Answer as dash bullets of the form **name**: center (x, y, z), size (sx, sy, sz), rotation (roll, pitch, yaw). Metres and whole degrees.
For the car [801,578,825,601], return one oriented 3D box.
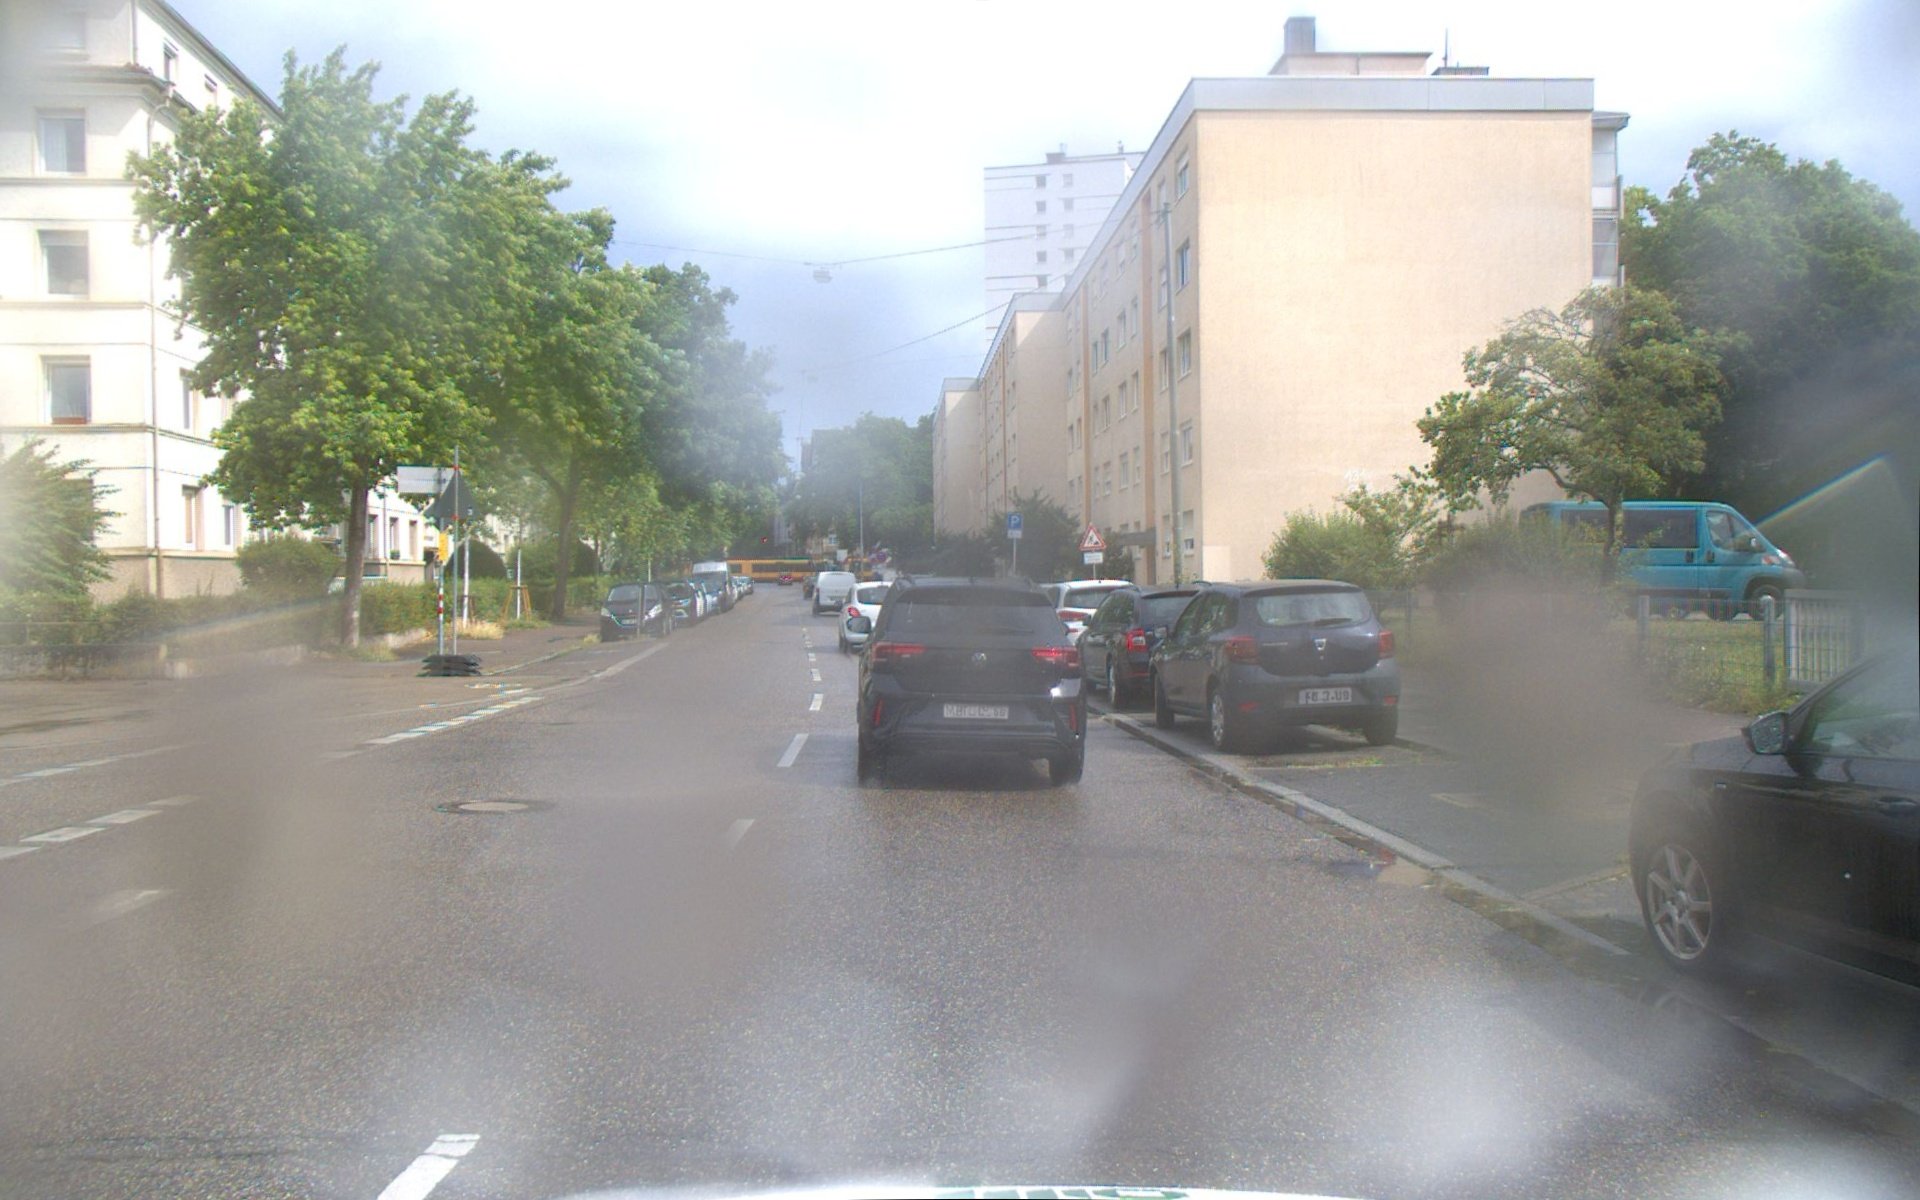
- **car**: center (-10.398, -0.725, 116.875), size (1.574, 1.536, 3.543), rotation (-2, 1, -6)

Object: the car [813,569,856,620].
- **car**: center (-5.447, -0.226, 72.104), size (1.800, 2.139, 3.997), rotation (1, 0, -3)

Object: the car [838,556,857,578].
- **car**: center (-9.992, -2.891, 146.521), size (1.633, 1.869, 3.997), rotation (-2, 1, -4)

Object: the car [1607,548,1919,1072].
- **car**: center (3.791, 0.622, 4.905), size (1.739, 1.566, 4.375), rotation (-3, 1, -4)

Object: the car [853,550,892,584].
- **car**: center (-4.406, -1.667, 83.652), size (1.803, 1.636, 3.675), rotation (-2, 1, -1)

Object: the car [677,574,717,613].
- **car**: center (-11.784, -0.315, 74.163), size (1.556, 1.668, 3.915), rotation (-2, 1, -7)

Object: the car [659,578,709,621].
- **car**: center (-9.957, -0.033, 59.918), size (1.556, 1.442, 3.915), rotation (-2, 1, -7)

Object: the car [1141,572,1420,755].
- **car**: center (3.052, 0.551, 16.595), size (1.722, 1.554, 3.996), rotation (-2, 0, -5)

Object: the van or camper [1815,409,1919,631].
- **van or camper**: center (13.623, -0.965, 20.525), size (4.897, 2.599, 2.174), rotation (-1, 0, -1)

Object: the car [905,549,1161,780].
- **car**: center (0.478, 0.476, 14.233), size (1.835, 1.674, 4.060), rotation (1, 0, -2)

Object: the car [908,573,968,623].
- **car**: center (-0.766, -0.100, 55.029), size (1.574, 1.532, 4.027), rotation (-2, 1, -6)

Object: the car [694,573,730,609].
- **car**: center (-11.967, -0.452, 79.942), size (1.556, 1.668, 3.915), rotation (-2, 1, -7)

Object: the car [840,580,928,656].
- **car**: center (-1.635, 0.364, 35.804), size (1.777, 1.529, 3.998), rotation (1, 0, -2)

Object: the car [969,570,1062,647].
- **car**: center (1.254, 0.149, 38.793), size (1.574, 1.690, 4.026), rotation (0, 1, -7)

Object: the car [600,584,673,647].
- **car**: center (-8.622, 0.385, 44.265), size (1.556, 1.532, 4.059), rotation (-2, 1, -7)

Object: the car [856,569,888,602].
- **car**: center (-5.115, -0.847, 95.828), size (1.574, 1.796, 4.027), rotation (-2, 1, -6)

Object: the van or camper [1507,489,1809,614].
- **van or camper**: center (12.891, -0.899, 30.811), size (4.661, 2.168, 2.322), rotation (-1, 1, 1)

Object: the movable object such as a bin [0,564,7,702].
- **movable object such as a bin**: center (-12.704, 0.444, 19.891), size (1.505, 1.691, 1.460), rotation (-1, 1, 17)

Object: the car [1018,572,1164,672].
- **car**: center (2.110, 0.302, 27.758), size (1.715, 1.534, 4.107), rotation (-1, 1, -6)

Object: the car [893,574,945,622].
- **car**: center (-1.586, -0.098, 62.726), size (1.574, 1.701, 4.027), rotation (-2, 1, -6)

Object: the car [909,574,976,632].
- **car**: center (-0.558, 0.053, 49.017), size (1.662, 1.565, 4.028), rotation (-2, 1, -5)

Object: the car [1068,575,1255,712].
- **car**: center (2.534, 0.501, 21.704), size (1.573, 1.534, 4.156), rotation (-3, 1, -5)

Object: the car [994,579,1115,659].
- **car**: center (1.807, 0.336, 32.826), size (1.683, 1.478, 4.253), rotation (0, 1, -7)
